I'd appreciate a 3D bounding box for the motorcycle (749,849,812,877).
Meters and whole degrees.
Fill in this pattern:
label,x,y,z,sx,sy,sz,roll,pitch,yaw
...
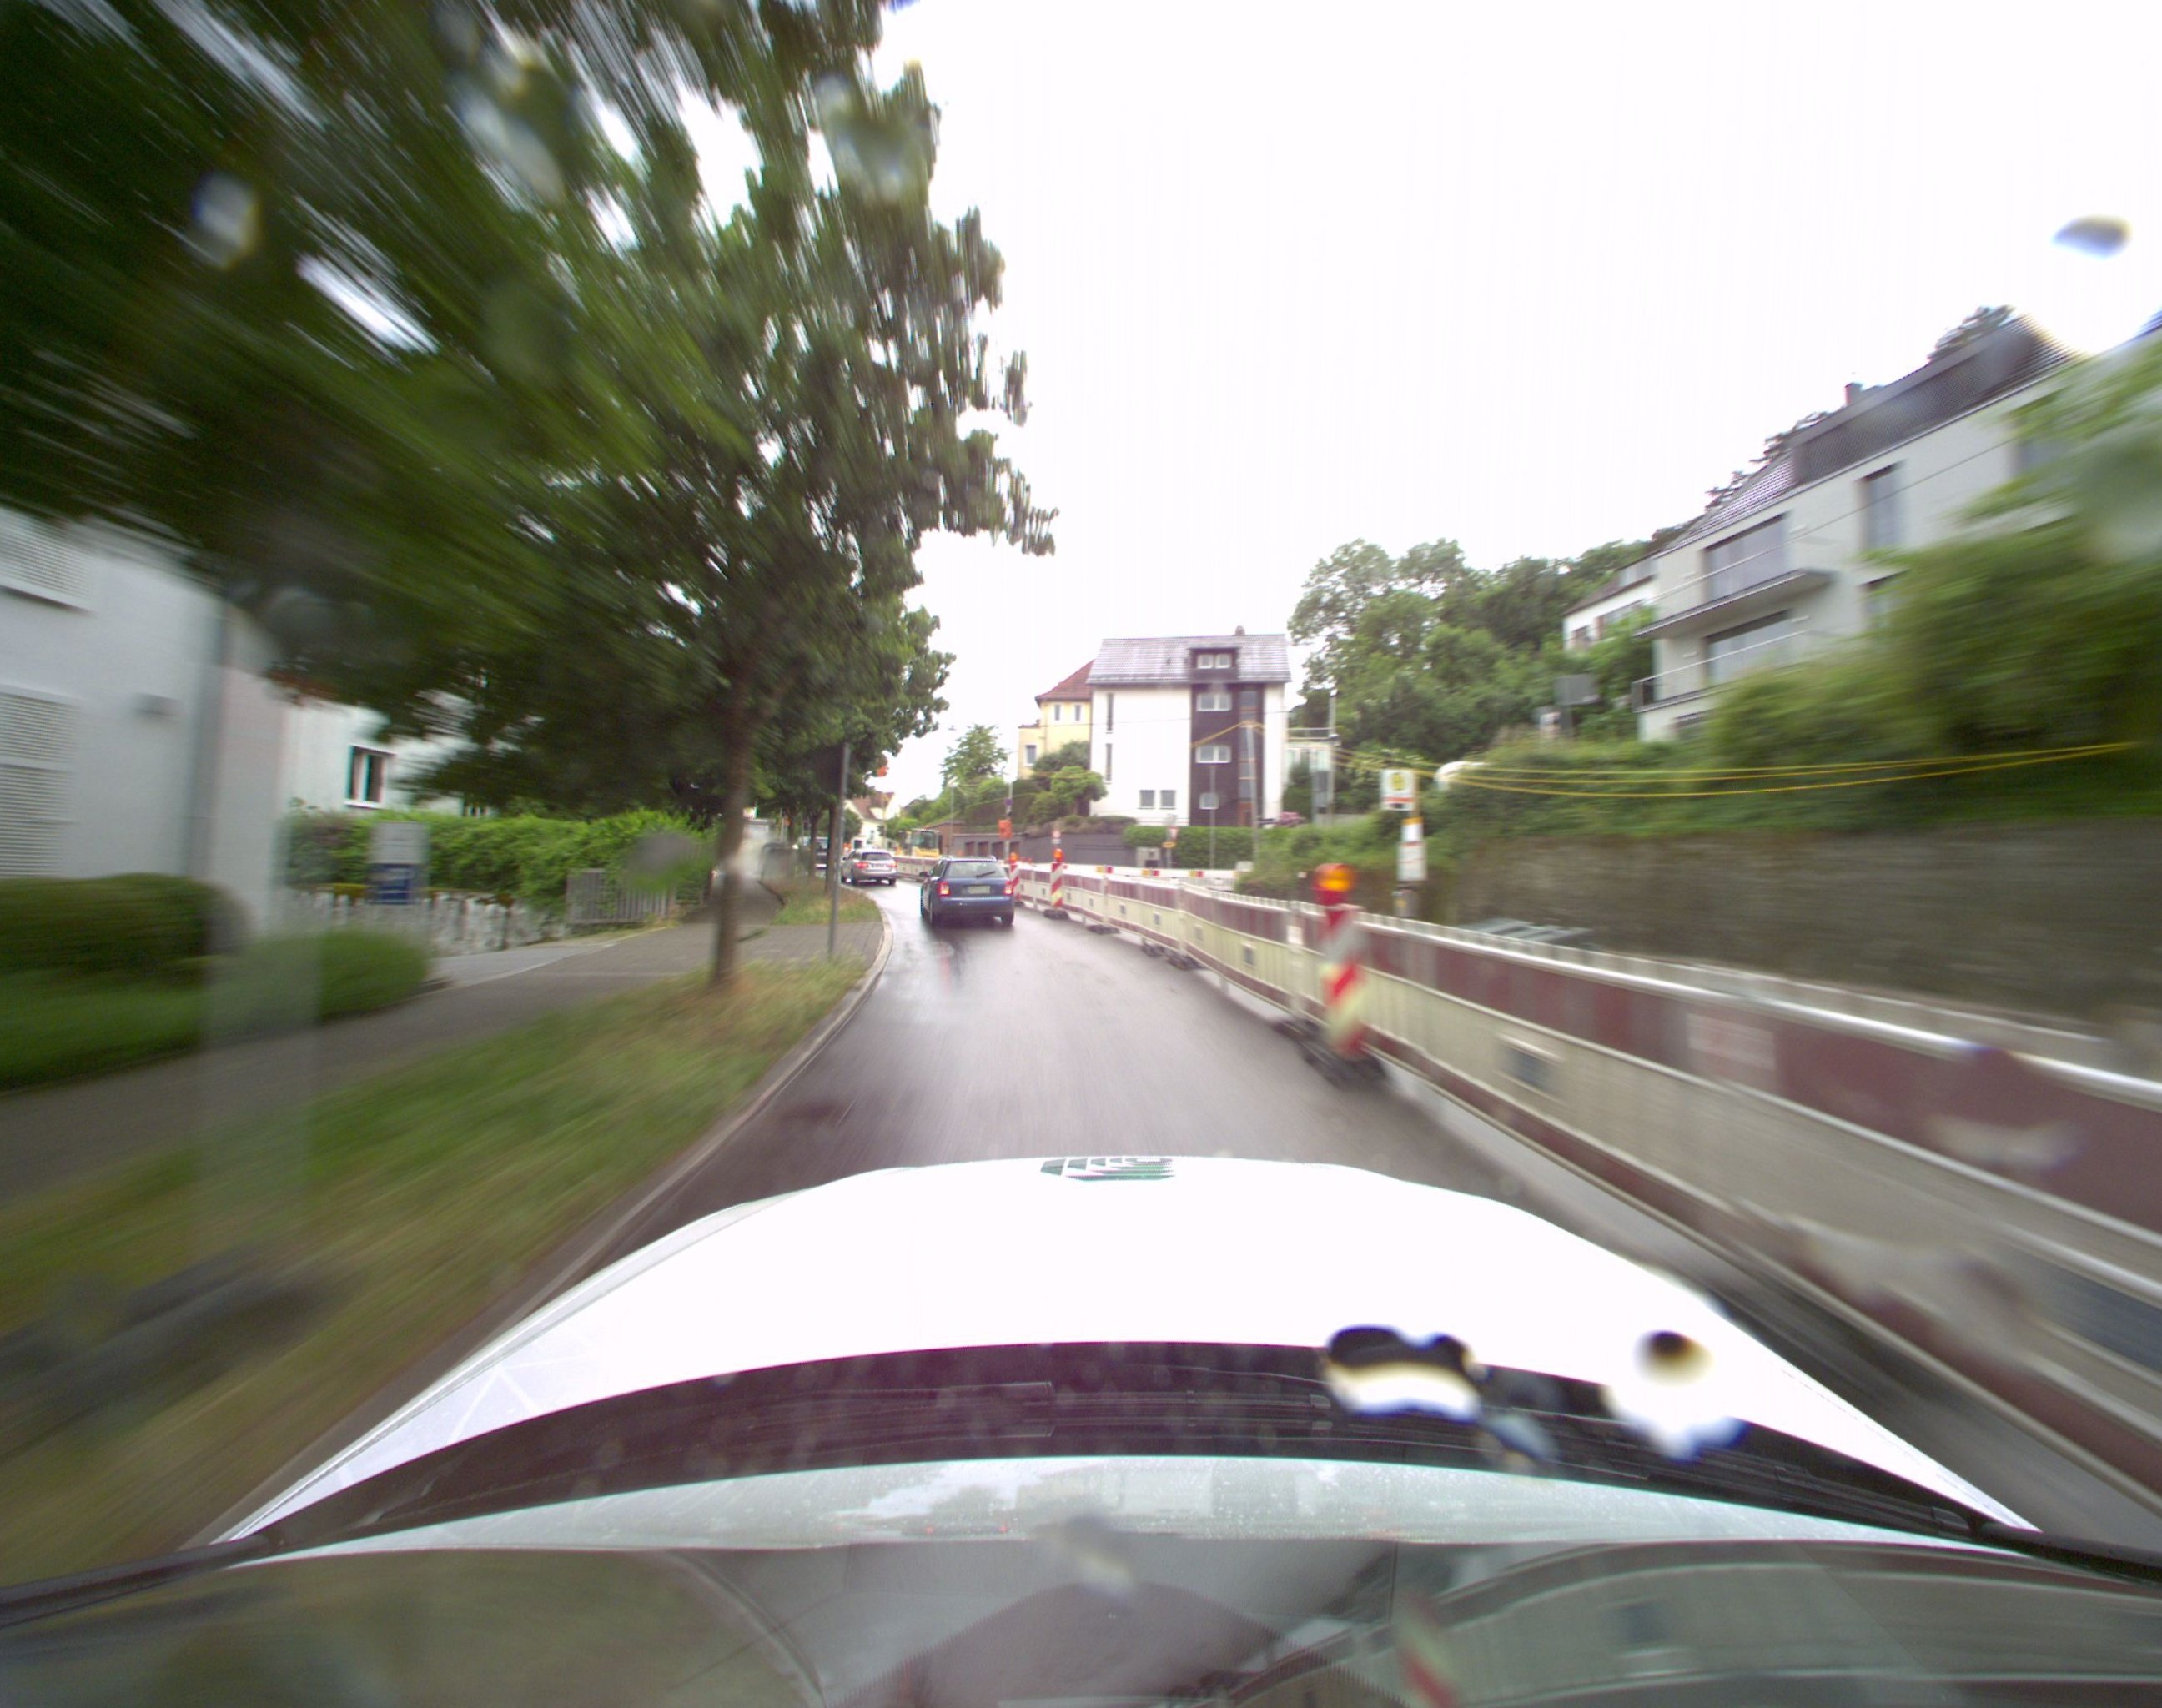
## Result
label,x,y,z,sx,sy,sz,roll,pitch,yaw
motorcycle,-13.559,0.423,36.766,2.609,1.234,0.883,1,-1,-24

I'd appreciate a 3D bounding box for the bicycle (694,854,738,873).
label,x,y,z,sx,sy,sz,roll,pitch,yaw
bicycle,-20.195,0.529,45.071,2.157,1.003,0.630,-1,-1,-26

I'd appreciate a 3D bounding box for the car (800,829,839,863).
label,x,y,z,sx,sy,sz,roll,pitch,yaw
car,-15.878,-0.458,49.295,2.001,1.794,3.971,-1,-2,-21

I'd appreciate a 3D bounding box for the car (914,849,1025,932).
label,x,y,z,sx,sy,sz,roll,pitch,yaw
car,-2.573,0.724,17.939,1.790,1.442,3.942,3,2,-17

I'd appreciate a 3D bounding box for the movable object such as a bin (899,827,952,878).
label,x,y,z,sx,sy,sz,roll,pitch,yaw
movable object such as a bin,-8.432,-0.135,43.973,2.002,2.613,3.970,-1,2,-23

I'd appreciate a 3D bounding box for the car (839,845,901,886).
label,x,y,z,sx,sy,sz,roll,pitch,yaw
car,-9.020,0.495,34.543,1.935,1.618,4.287,-1,-1,-23
